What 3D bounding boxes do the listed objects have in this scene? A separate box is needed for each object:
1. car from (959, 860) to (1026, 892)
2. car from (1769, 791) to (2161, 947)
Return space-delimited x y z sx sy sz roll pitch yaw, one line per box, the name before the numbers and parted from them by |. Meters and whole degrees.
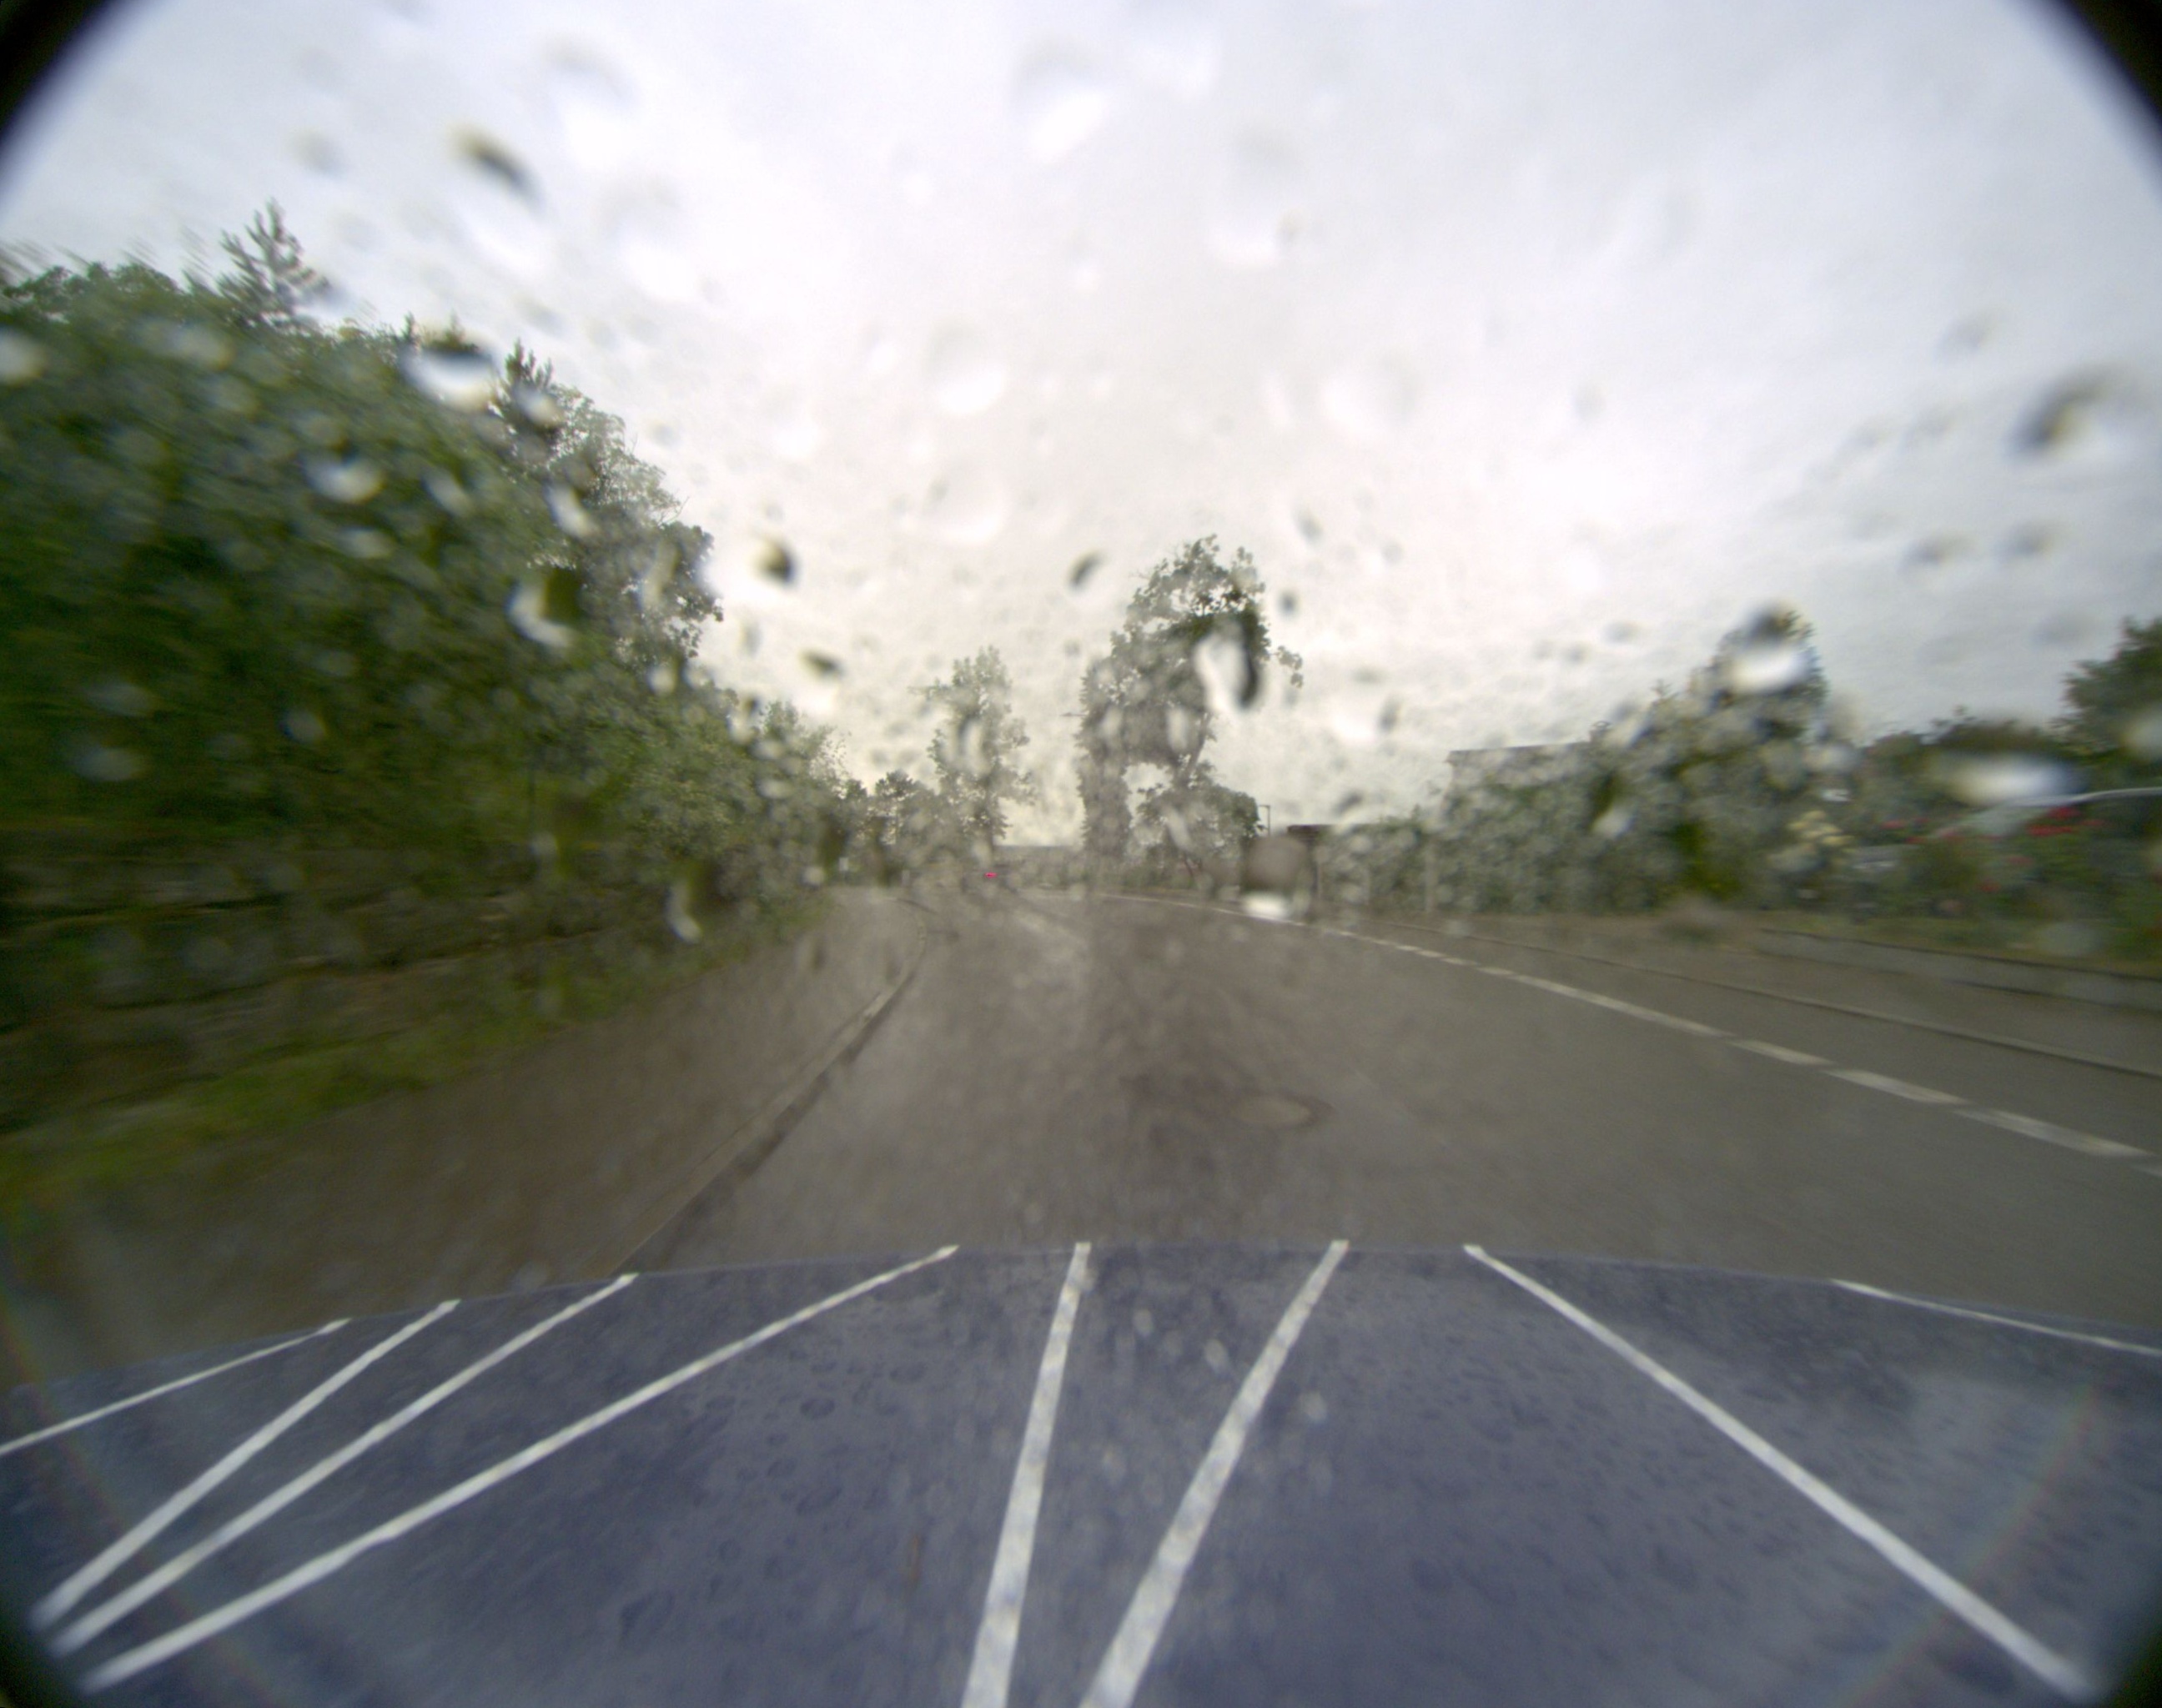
car | -4.355 1.026 36.863 1.785 1.412 4.156 -2 0 -28
car | 11.204 0.169 9.058 3.990 1.622 2.017 -3 0 26
